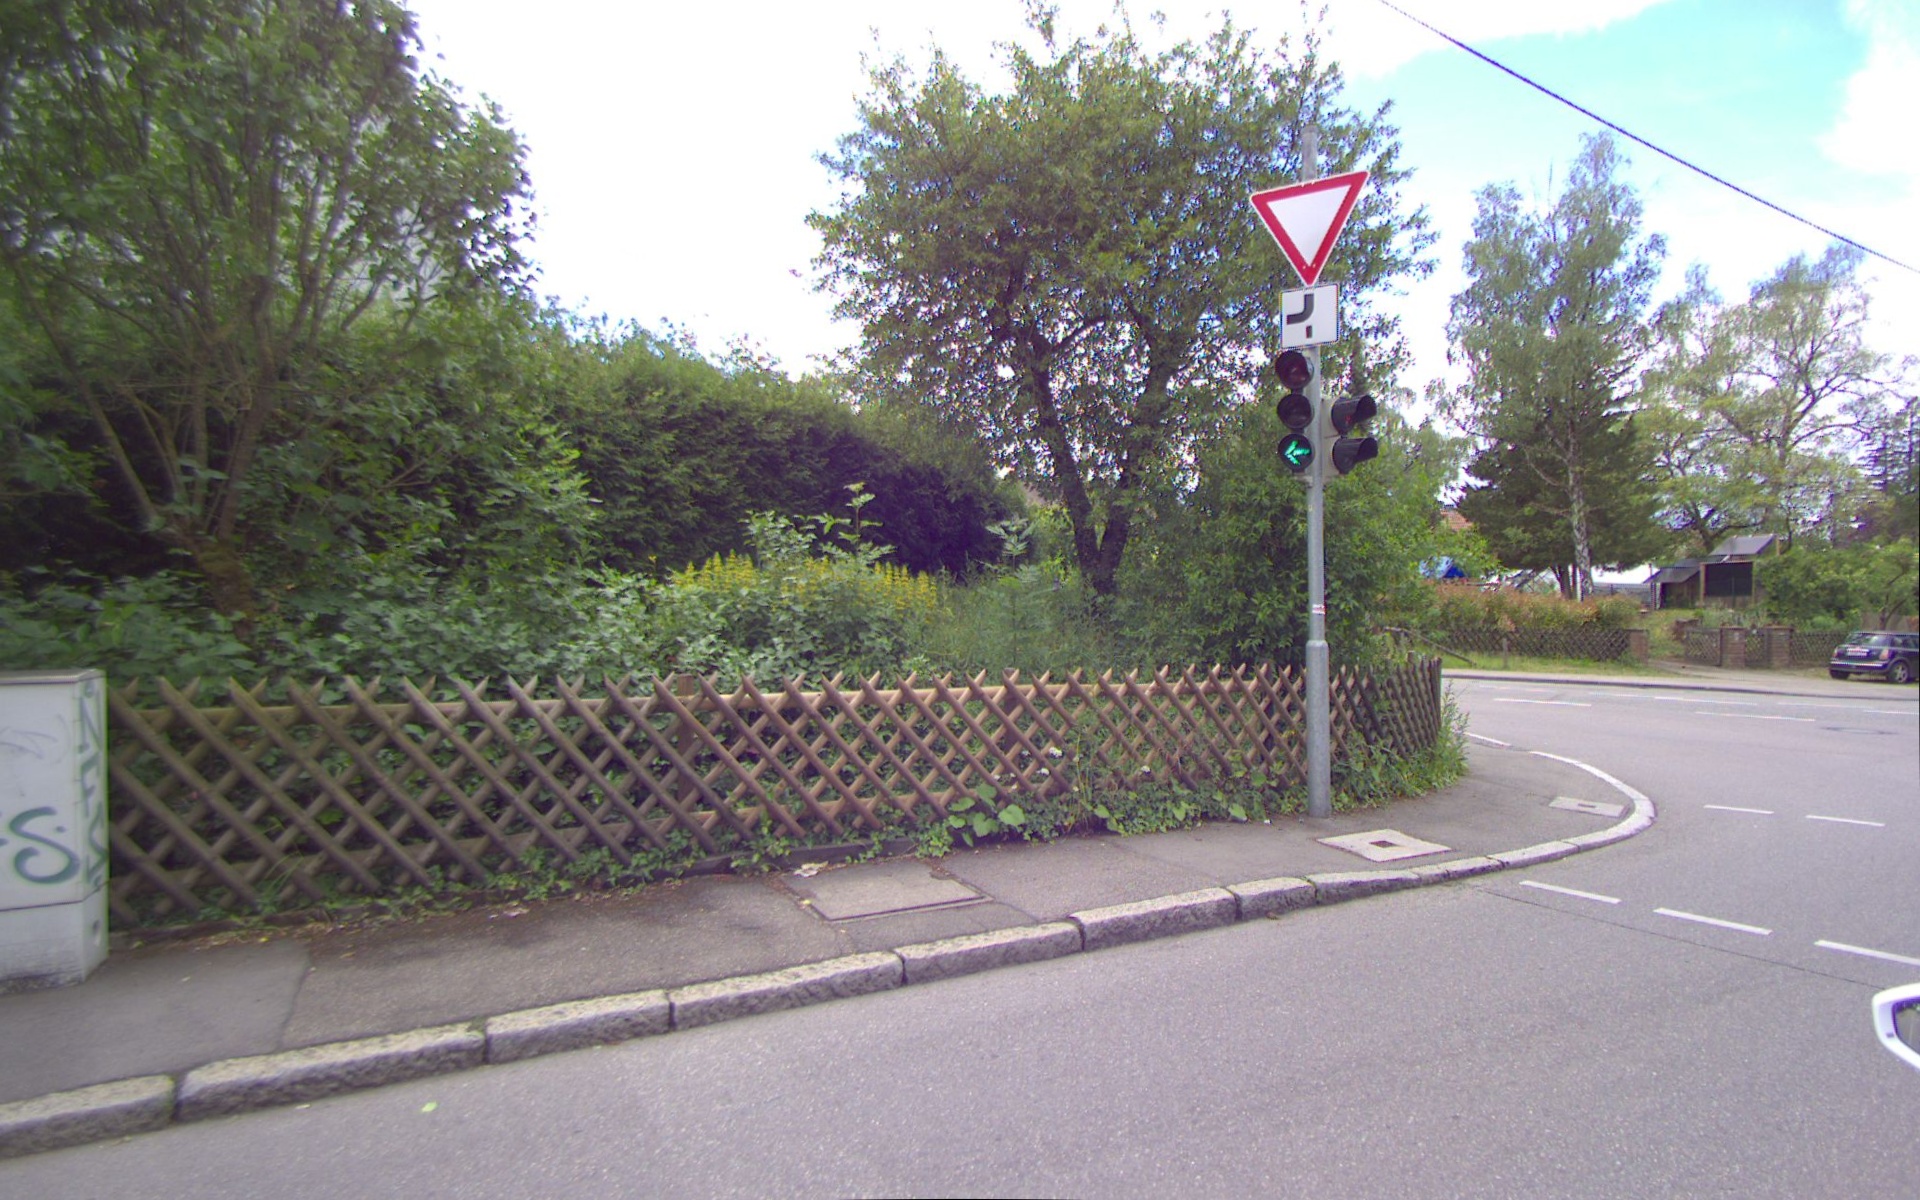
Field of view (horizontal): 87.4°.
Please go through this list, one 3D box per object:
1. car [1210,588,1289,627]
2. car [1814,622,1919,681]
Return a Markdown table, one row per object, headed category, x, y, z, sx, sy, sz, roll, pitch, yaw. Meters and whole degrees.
| category | x | y | z | sx | sy | sz | roll | pitch | yaw |
| --- | --- | --- | --- | --- | --- | --- | --- | --- | --- |
| car | 13.574 | 0.340 | 47.409 | 1.963 | 1.680 | 4.337 | -2 | 1 | -8 |
| car | 26.205 | 1.432 | 28.053 | 3.479 | 1.468 | 1.700 | 2 | 1 | -10 |
